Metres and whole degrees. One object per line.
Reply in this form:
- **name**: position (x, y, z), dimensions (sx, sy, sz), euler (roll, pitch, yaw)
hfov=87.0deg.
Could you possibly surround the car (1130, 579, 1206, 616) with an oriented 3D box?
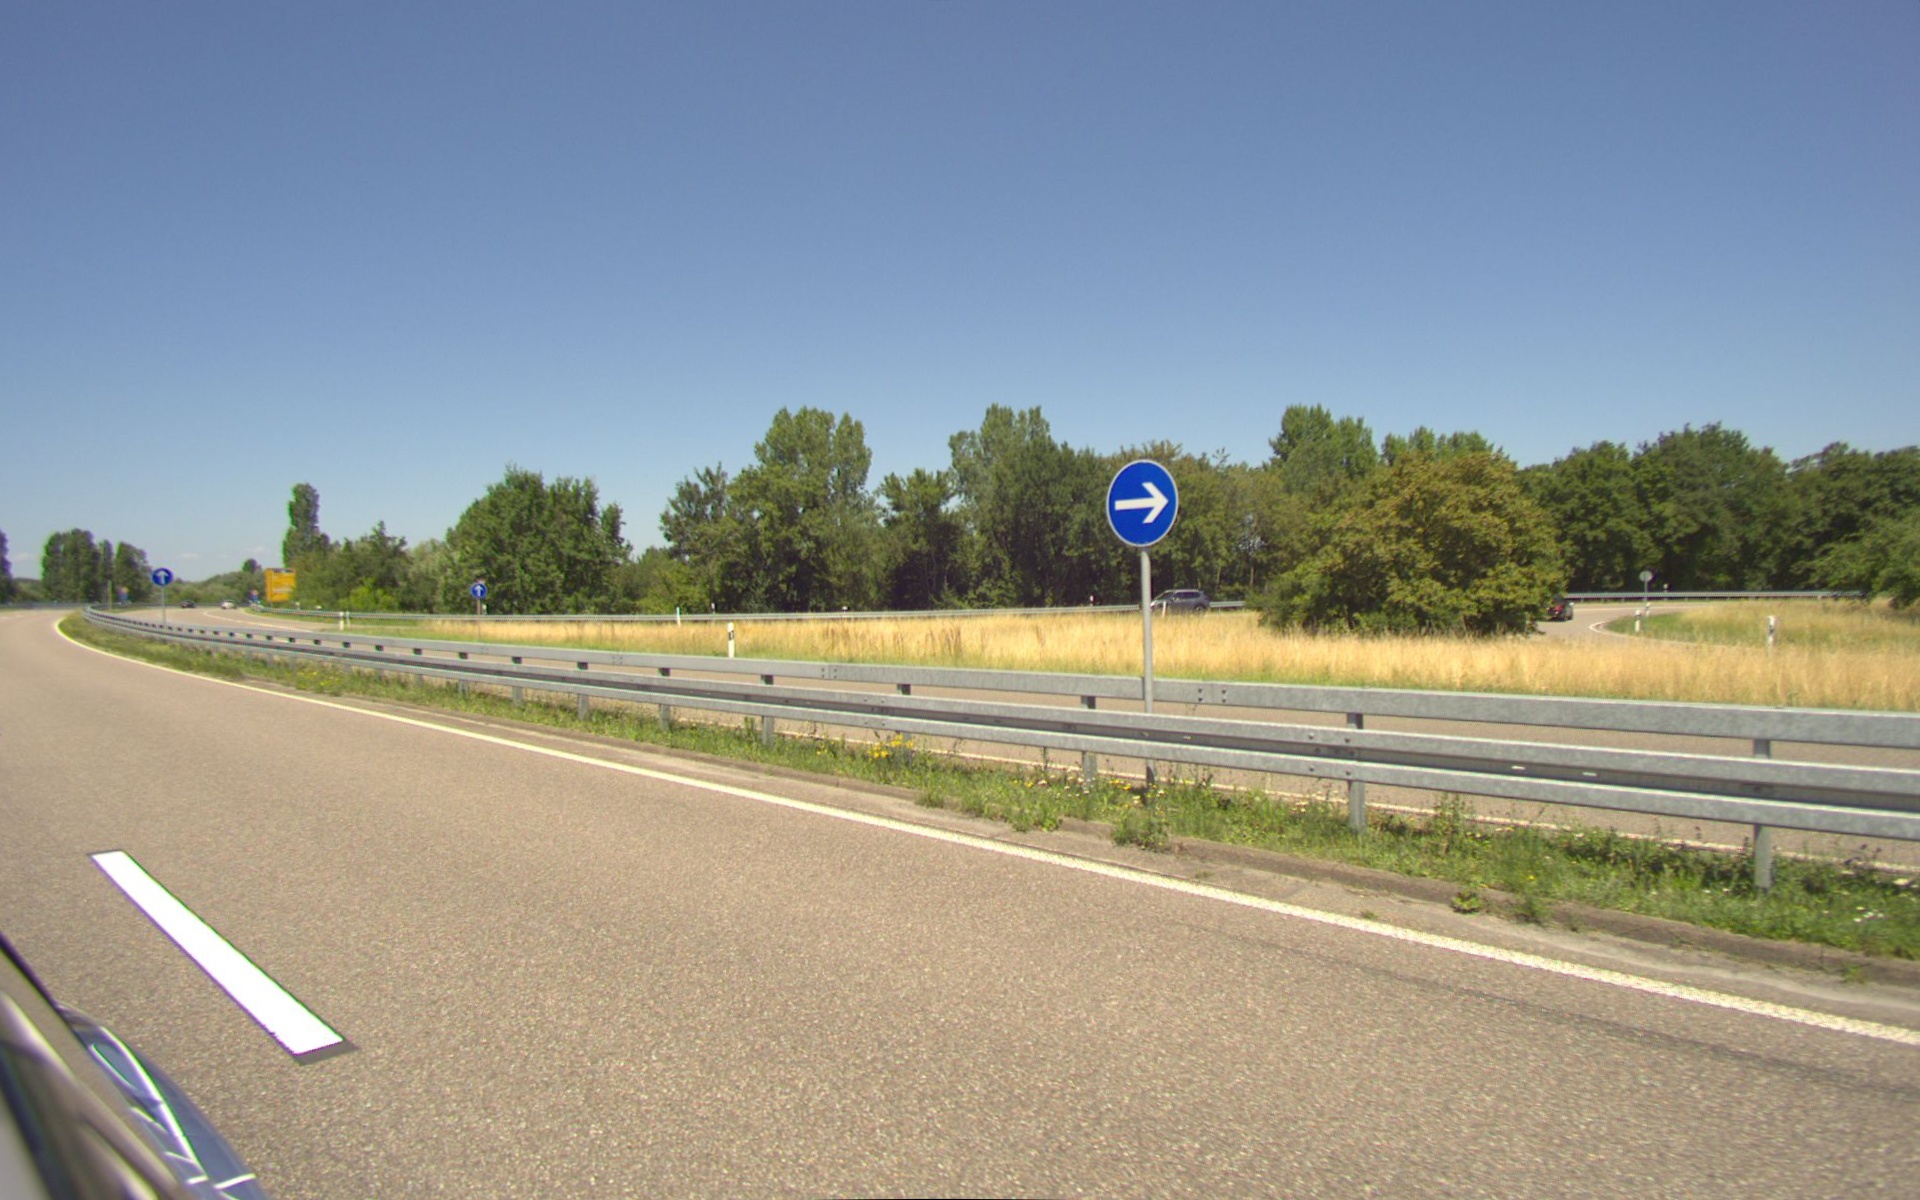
- **car**: position (12.600, -0.177, 61.358), dimensions (3.932, 2.028, 2.006), euler (-2, 2, -17)
